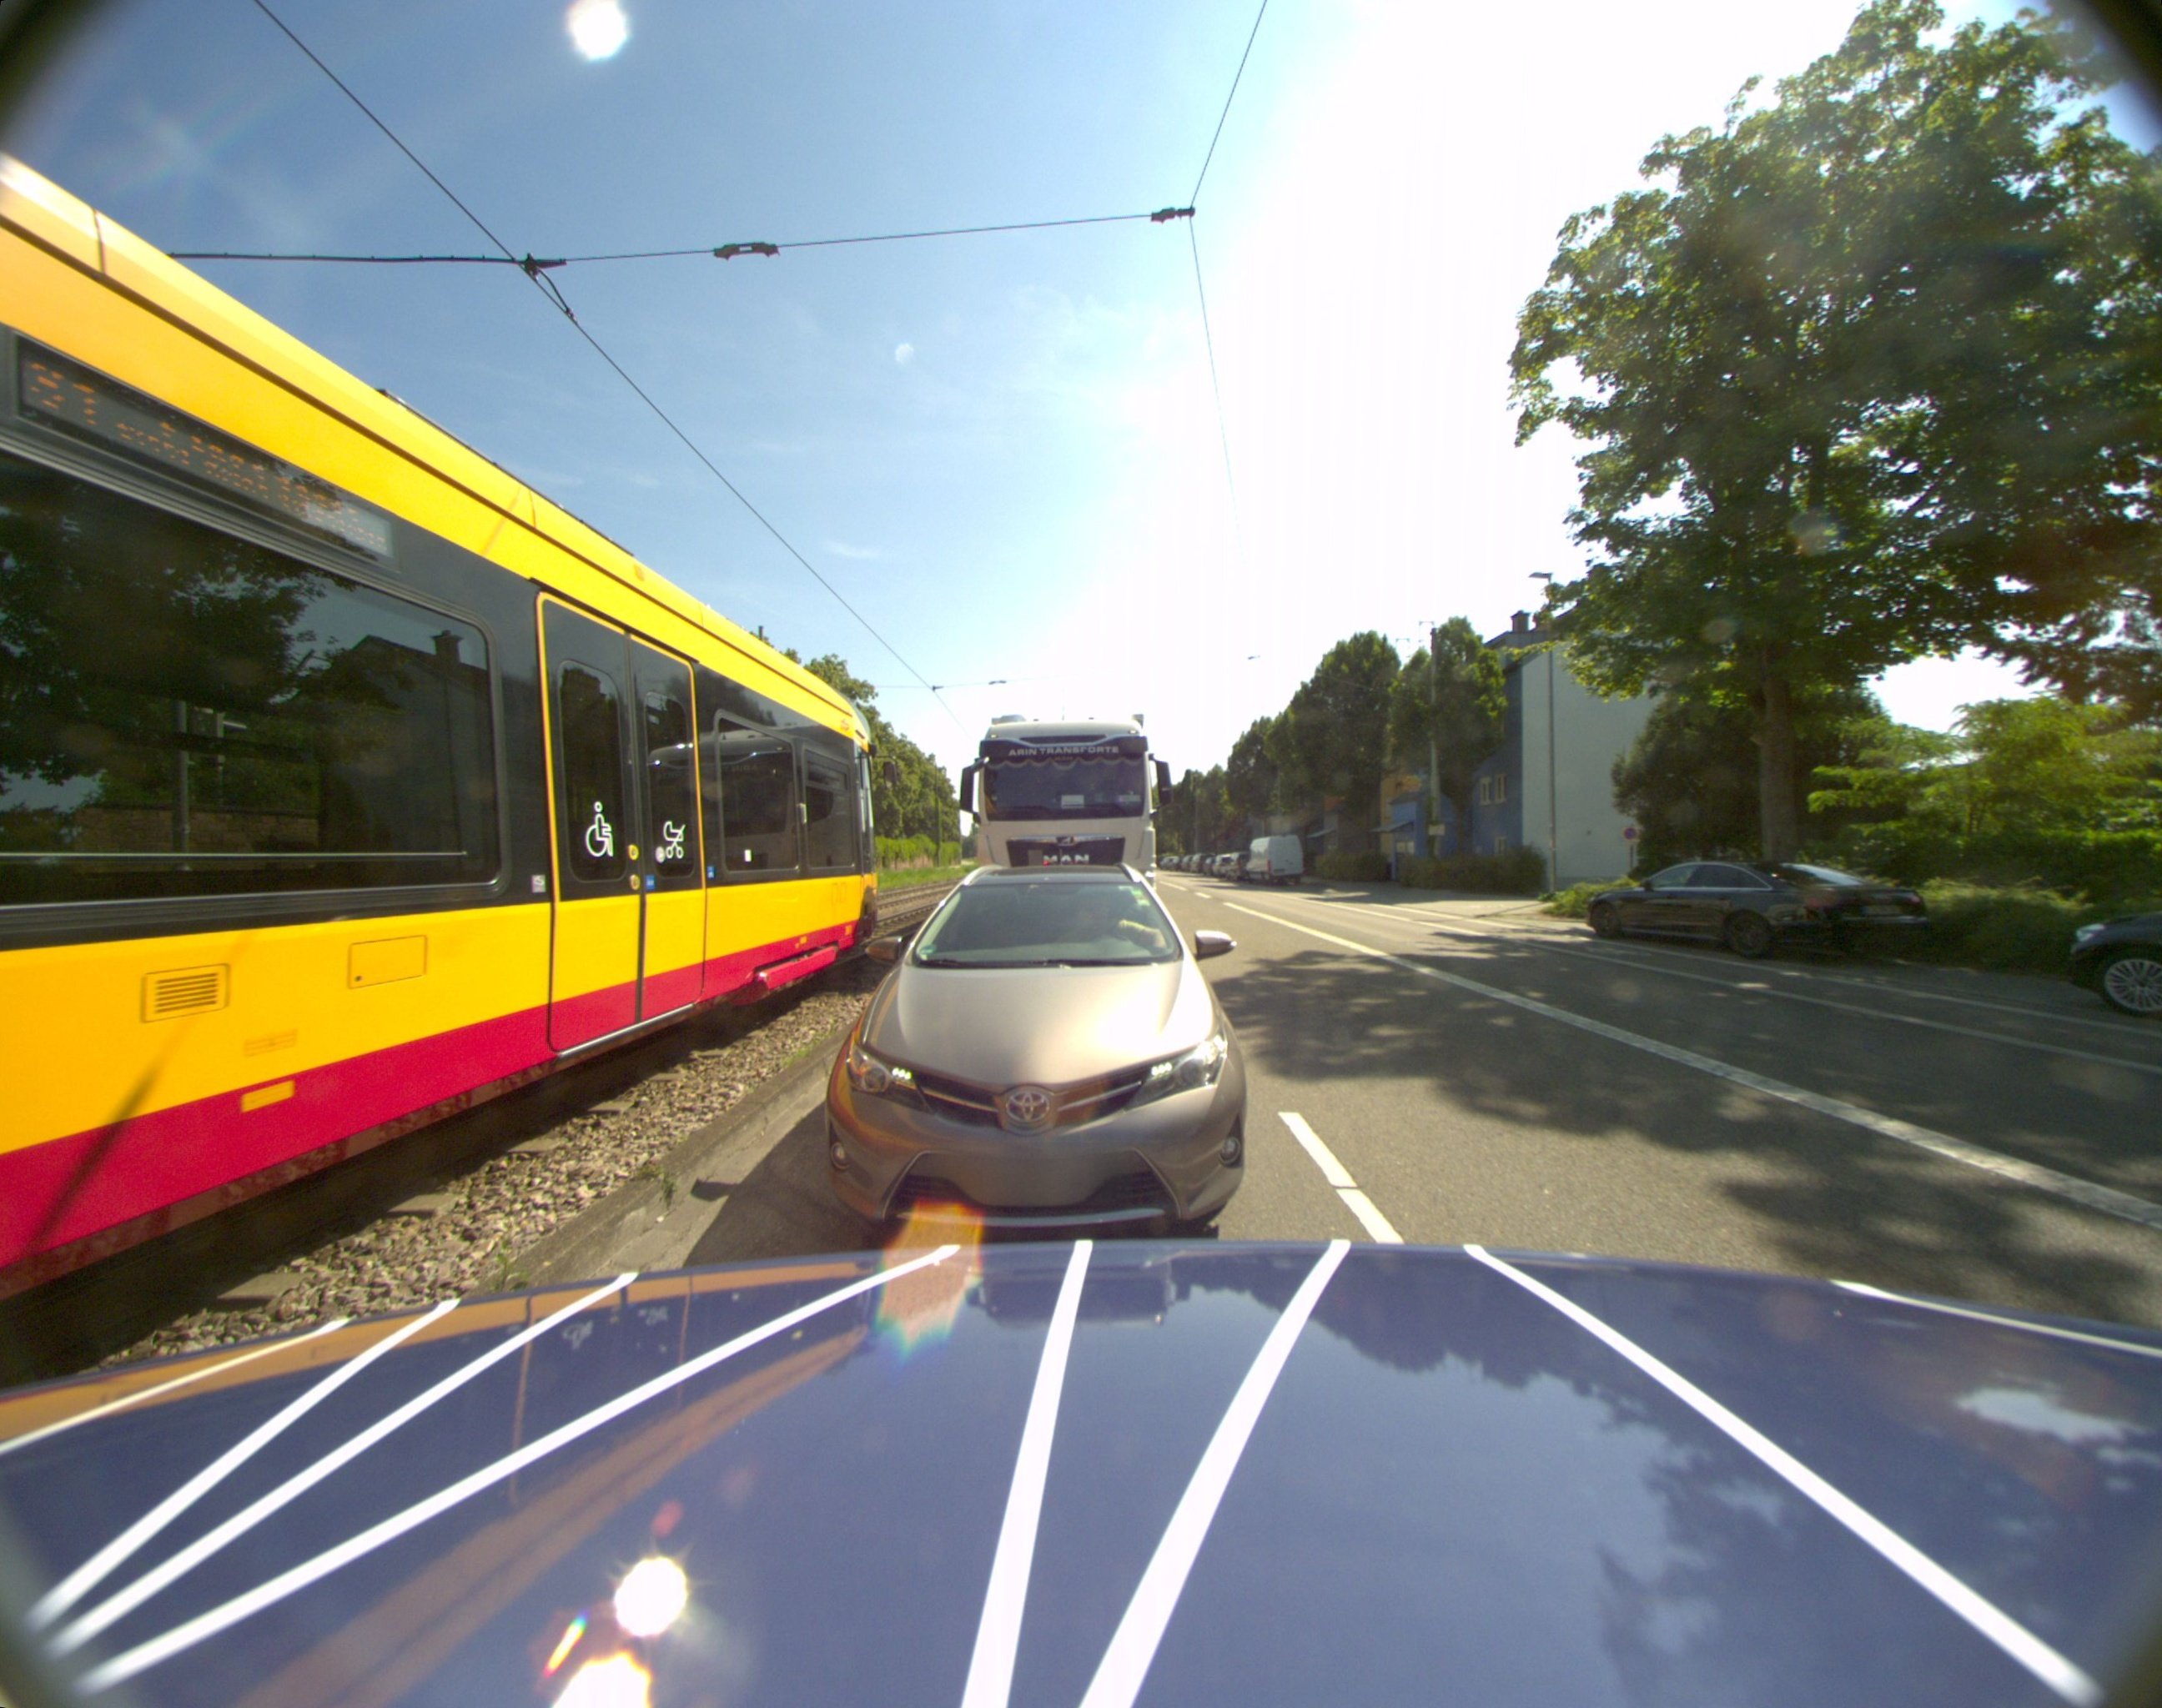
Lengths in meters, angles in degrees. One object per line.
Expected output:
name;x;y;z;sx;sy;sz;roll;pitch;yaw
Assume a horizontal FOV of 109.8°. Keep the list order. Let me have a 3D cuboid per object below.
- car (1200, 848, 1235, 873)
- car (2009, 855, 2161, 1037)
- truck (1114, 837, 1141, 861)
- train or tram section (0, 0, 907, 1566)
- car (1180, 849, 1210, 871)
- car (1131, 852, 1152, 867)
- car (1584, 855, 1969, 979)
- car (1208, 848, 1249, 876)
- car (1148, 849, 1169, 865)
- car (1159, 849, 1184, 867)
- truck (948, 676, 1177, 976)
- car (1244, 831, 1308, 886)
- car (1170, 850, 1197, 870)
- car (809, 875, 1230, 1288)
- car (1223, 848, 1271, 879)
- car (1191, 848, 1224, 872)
car;11.258;0.521;62.871;1.998;1.795;4.256;-6;0;0
car;10.578;0.823;5.578;1.868;1.562;4.621;-2;0;1
truck;7.062;-0.689;116.118;2.704;3.263;6.724;-6;0;-5
train or tram section;-3.991;-0.219;4.550;2.878;3.833;12.391;0;0;1
car;10.952;0.561;73.386;1.998;1.795;4.769;-6;0;0
car;8.347;0.783;105.580;1.999;1.795;5.111;-6;0;-4
car;10.558;0.822;12.168;1.868;1.562;4.621;-1;0;-1
car;11.097;0.571;57.346;1.998;1.795;4.769;-6;0;0
car;9.887;0.362;96.856;1.998;1.795;4.769;-6;0;0
car;10.201;0.476;85.919;1.998;1.795;4.769;-6;0;0
truck;-0.140;-0.379;17.221;2.935;3.856;14.913;0;0;1
car;10.932;0.244;43.159;1.998;2.678;6.214;-6;0;2
car;10.620;0.623;79.176;1.998;1.795;4.769;-6;0;0
car;-0.204;0.911;4.846;1.573;1.422;4.000;0;0;1
car;11.166;0.627;51.455;1.998;1.795;4.769;-6;0;0
car;11.214;0.513;67.709;1.998;1.795;4.769;-6;0;0
